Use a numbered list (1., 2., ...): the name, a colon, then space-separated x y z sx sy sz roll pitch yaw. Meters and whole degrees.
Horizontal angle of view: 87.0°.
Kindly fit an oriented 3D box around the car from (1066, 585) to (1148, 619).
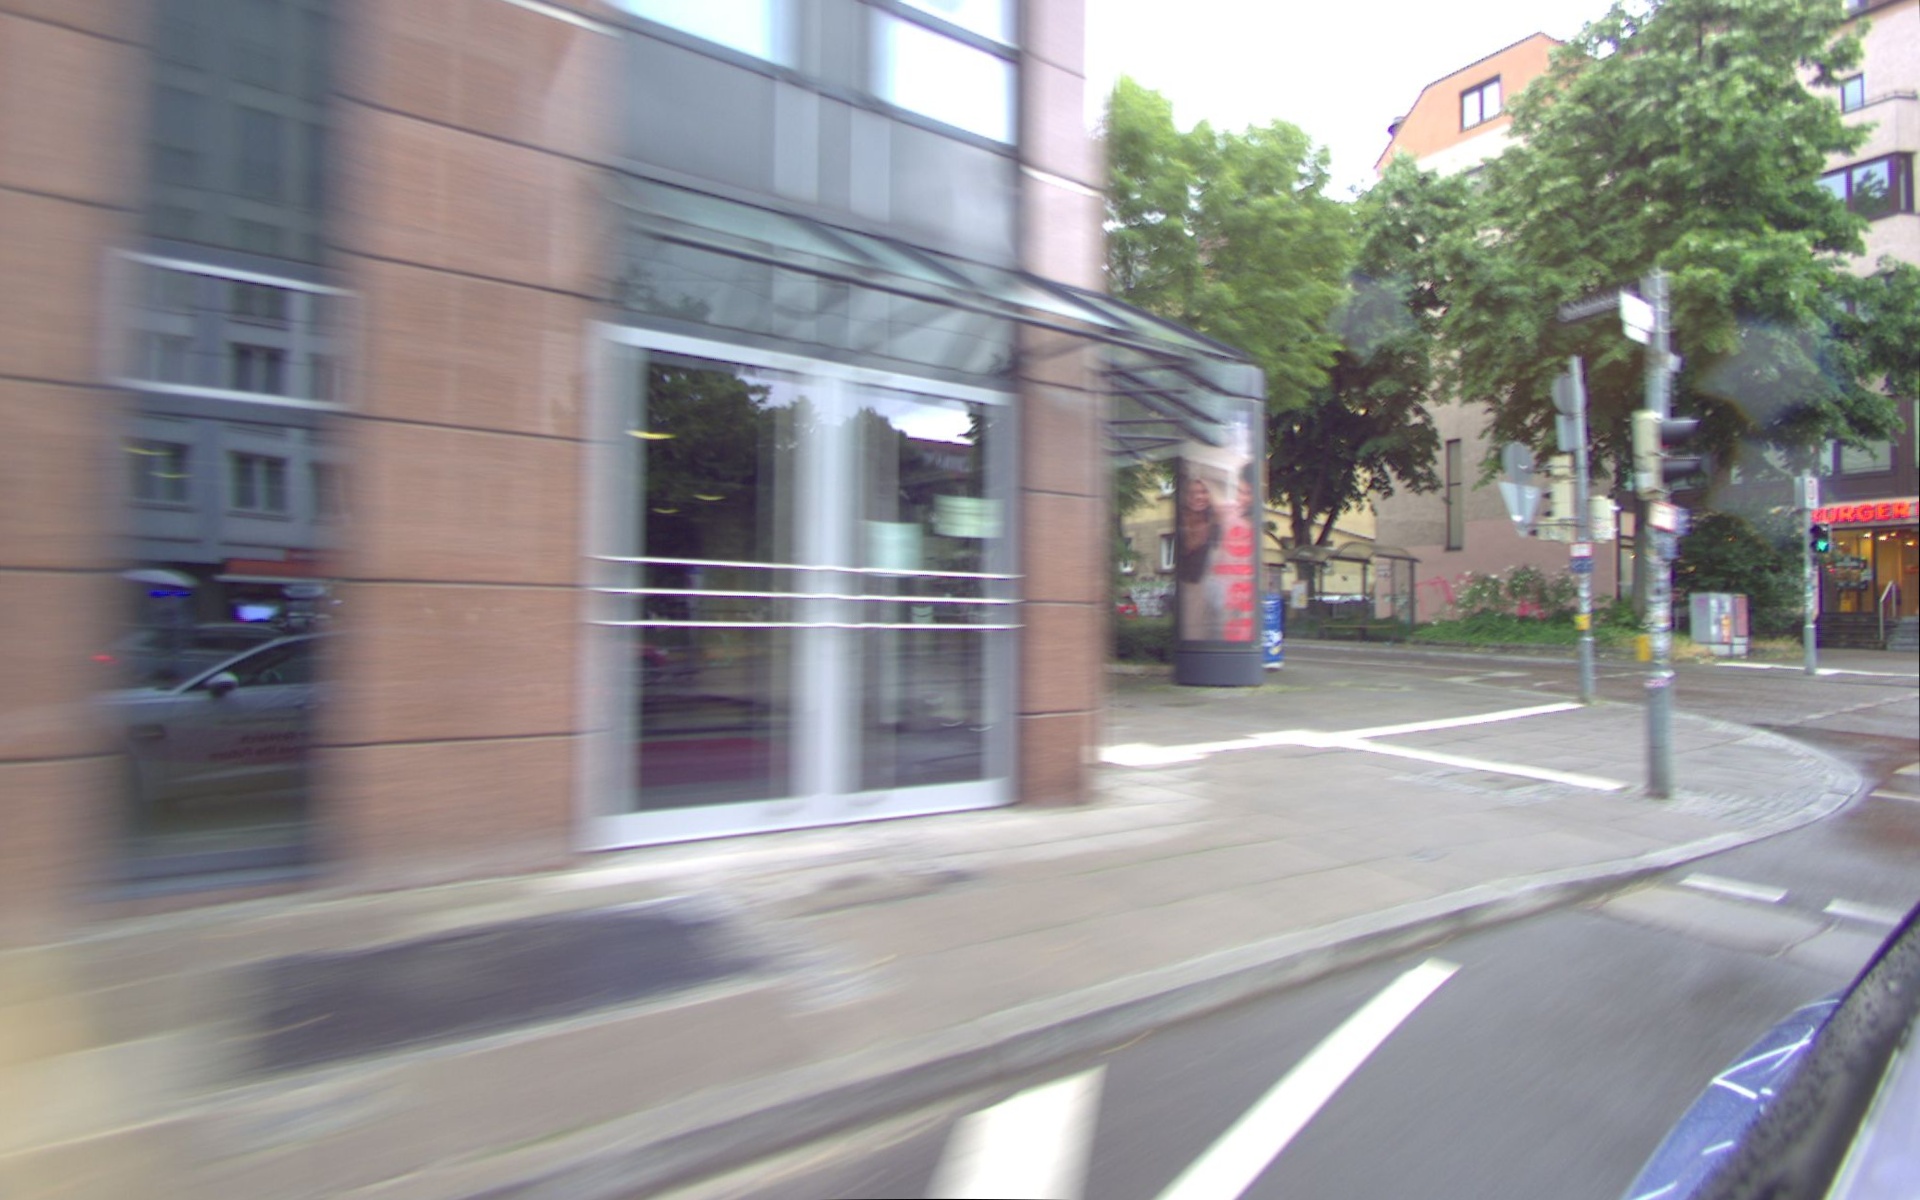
1. car: 6.515 0.083 45.125 1.640 1.474 3.676 0 0 -32

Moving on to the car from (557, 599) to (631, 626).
1. car: -21.371 0.710 59.080 3.791 1.498 1.706 0 2 -32

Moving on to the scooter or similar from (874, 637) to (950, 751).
1. scooter or similar: -0.598 1.094 12.228 0.319 1.243 1.380 0 0 -30

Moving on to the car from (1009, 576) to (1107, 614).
1. car: 4.003 -0.194 41.100 3.797 1.480 1.679 0 0 -35
